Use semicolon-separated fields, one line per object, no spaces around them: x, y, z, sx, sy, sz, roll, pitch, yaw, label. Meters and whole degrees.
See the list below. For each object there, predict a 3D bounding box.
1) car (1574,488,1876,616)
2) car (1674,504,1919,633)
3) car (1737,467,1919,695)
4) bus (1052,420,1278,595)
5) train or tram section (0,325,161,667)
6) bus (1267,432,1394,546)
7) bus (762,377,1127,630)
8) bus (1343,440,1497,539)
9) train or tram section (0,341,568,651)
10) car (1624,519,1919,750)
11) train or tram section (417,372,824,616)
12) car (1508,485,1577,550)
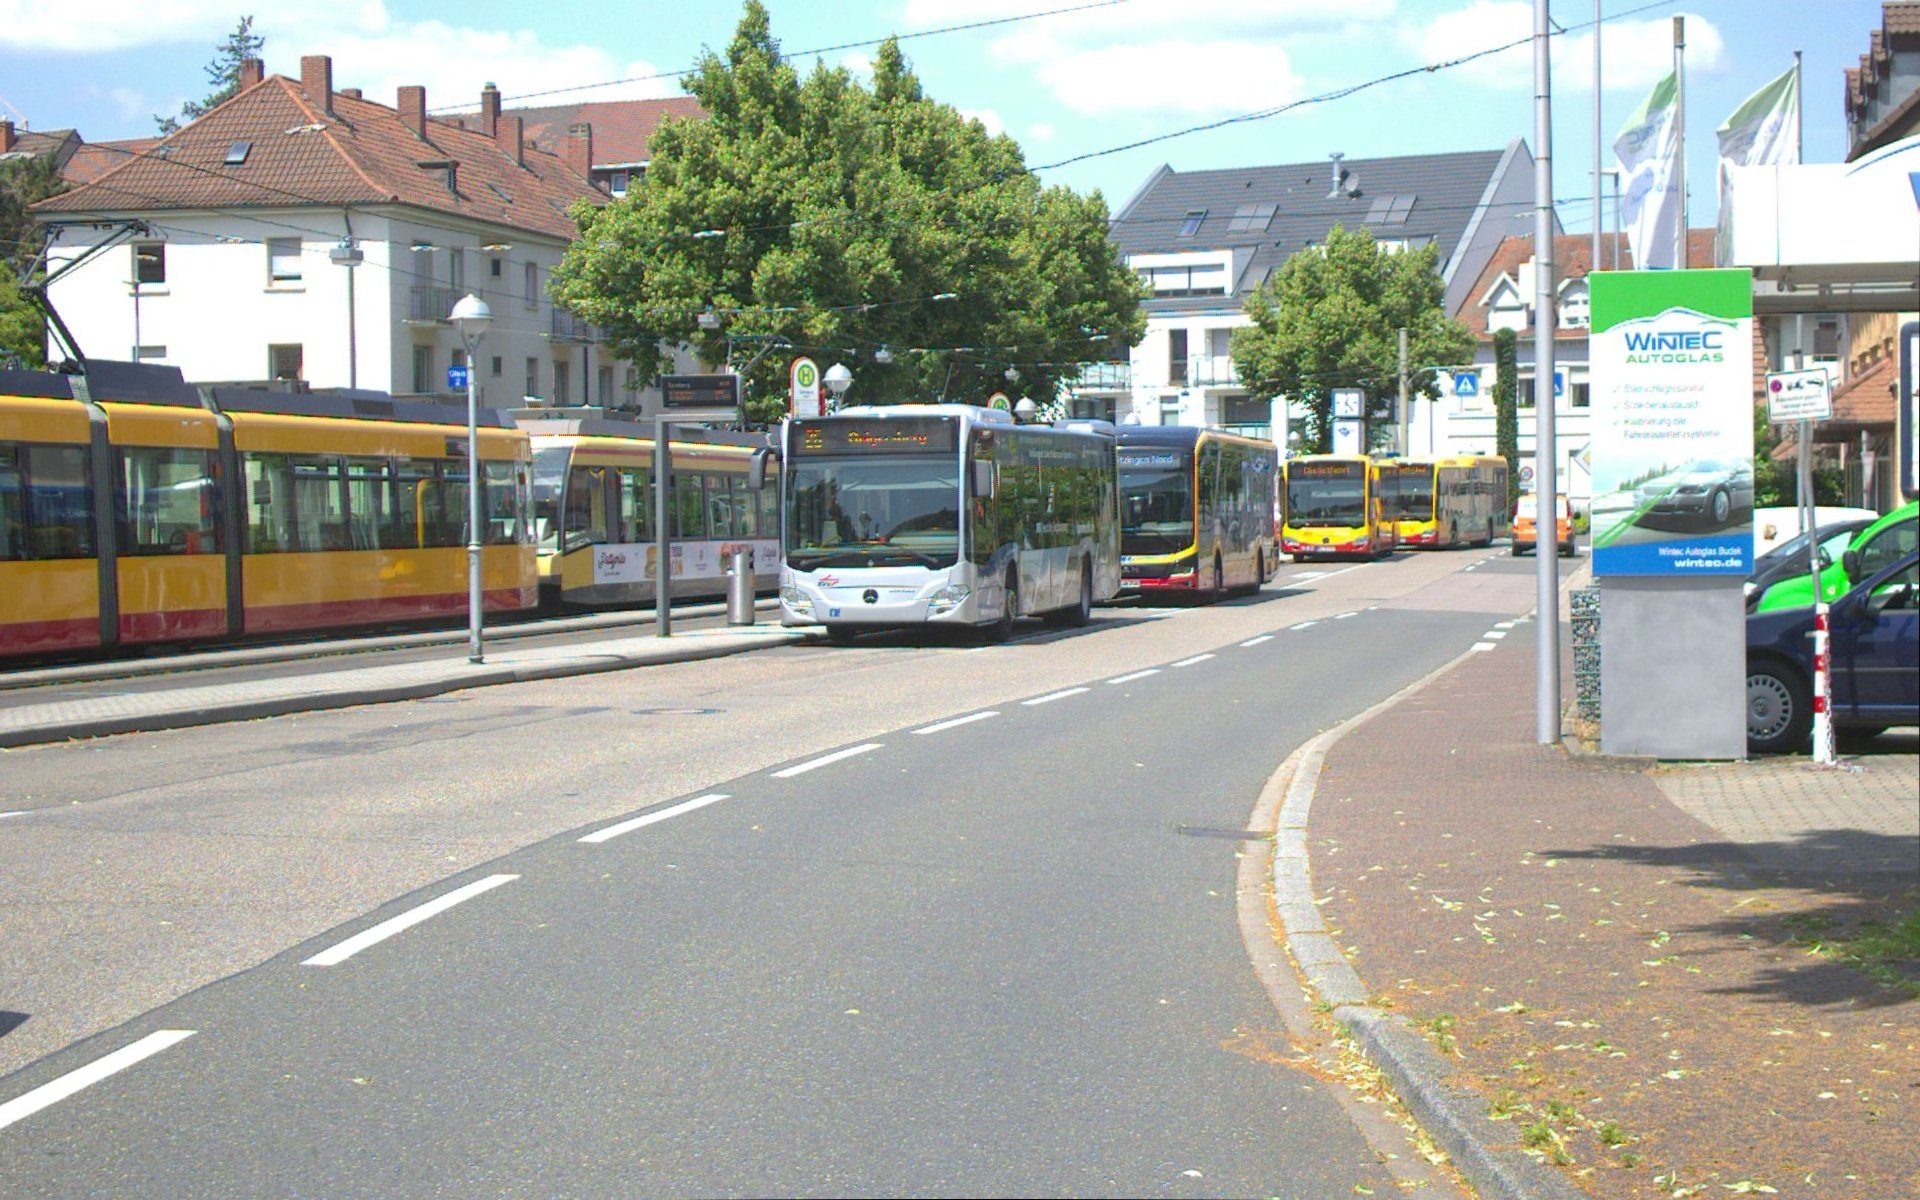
11.573;-0.756;52.258;4.305;1.803;2.000;1;3;8;car
10.902;-0.400;42.075;3.929;1.513;1.823;-1;1;0;car
8.358;-0.167;27.315;1.836;1.788;4.024;-1;1;-37;car
4.207;-1.806;67.520;2.732;3.118;12.002;0;1;12;bus
-12.030;-1.001;32.840;2.811;3.556;14.174;0;1;12;train or tram section
11.164;-3.276;102.630;2.732;3.207;11.044;0;1;12;bus
0.079;-1.350;48.594;2.732;3.118;12.002;0;1;12;bus
15.604;-3.692;115.965;2.637;3.207;9.929;0;2;23;bus
-9.040;-1.380;46.940;2.786;3.556;14.698;0;1;12;train or tram section
6.599;0.195;22.068;4.166;1.434;1.898;0;1;35;car
-5.742;-1.883;62.626;2.786;3.881;15.544;0;1;12;train or tram section
18.266;-2.583;107.733;1.809;1.974;3.998;0;1;14;car
